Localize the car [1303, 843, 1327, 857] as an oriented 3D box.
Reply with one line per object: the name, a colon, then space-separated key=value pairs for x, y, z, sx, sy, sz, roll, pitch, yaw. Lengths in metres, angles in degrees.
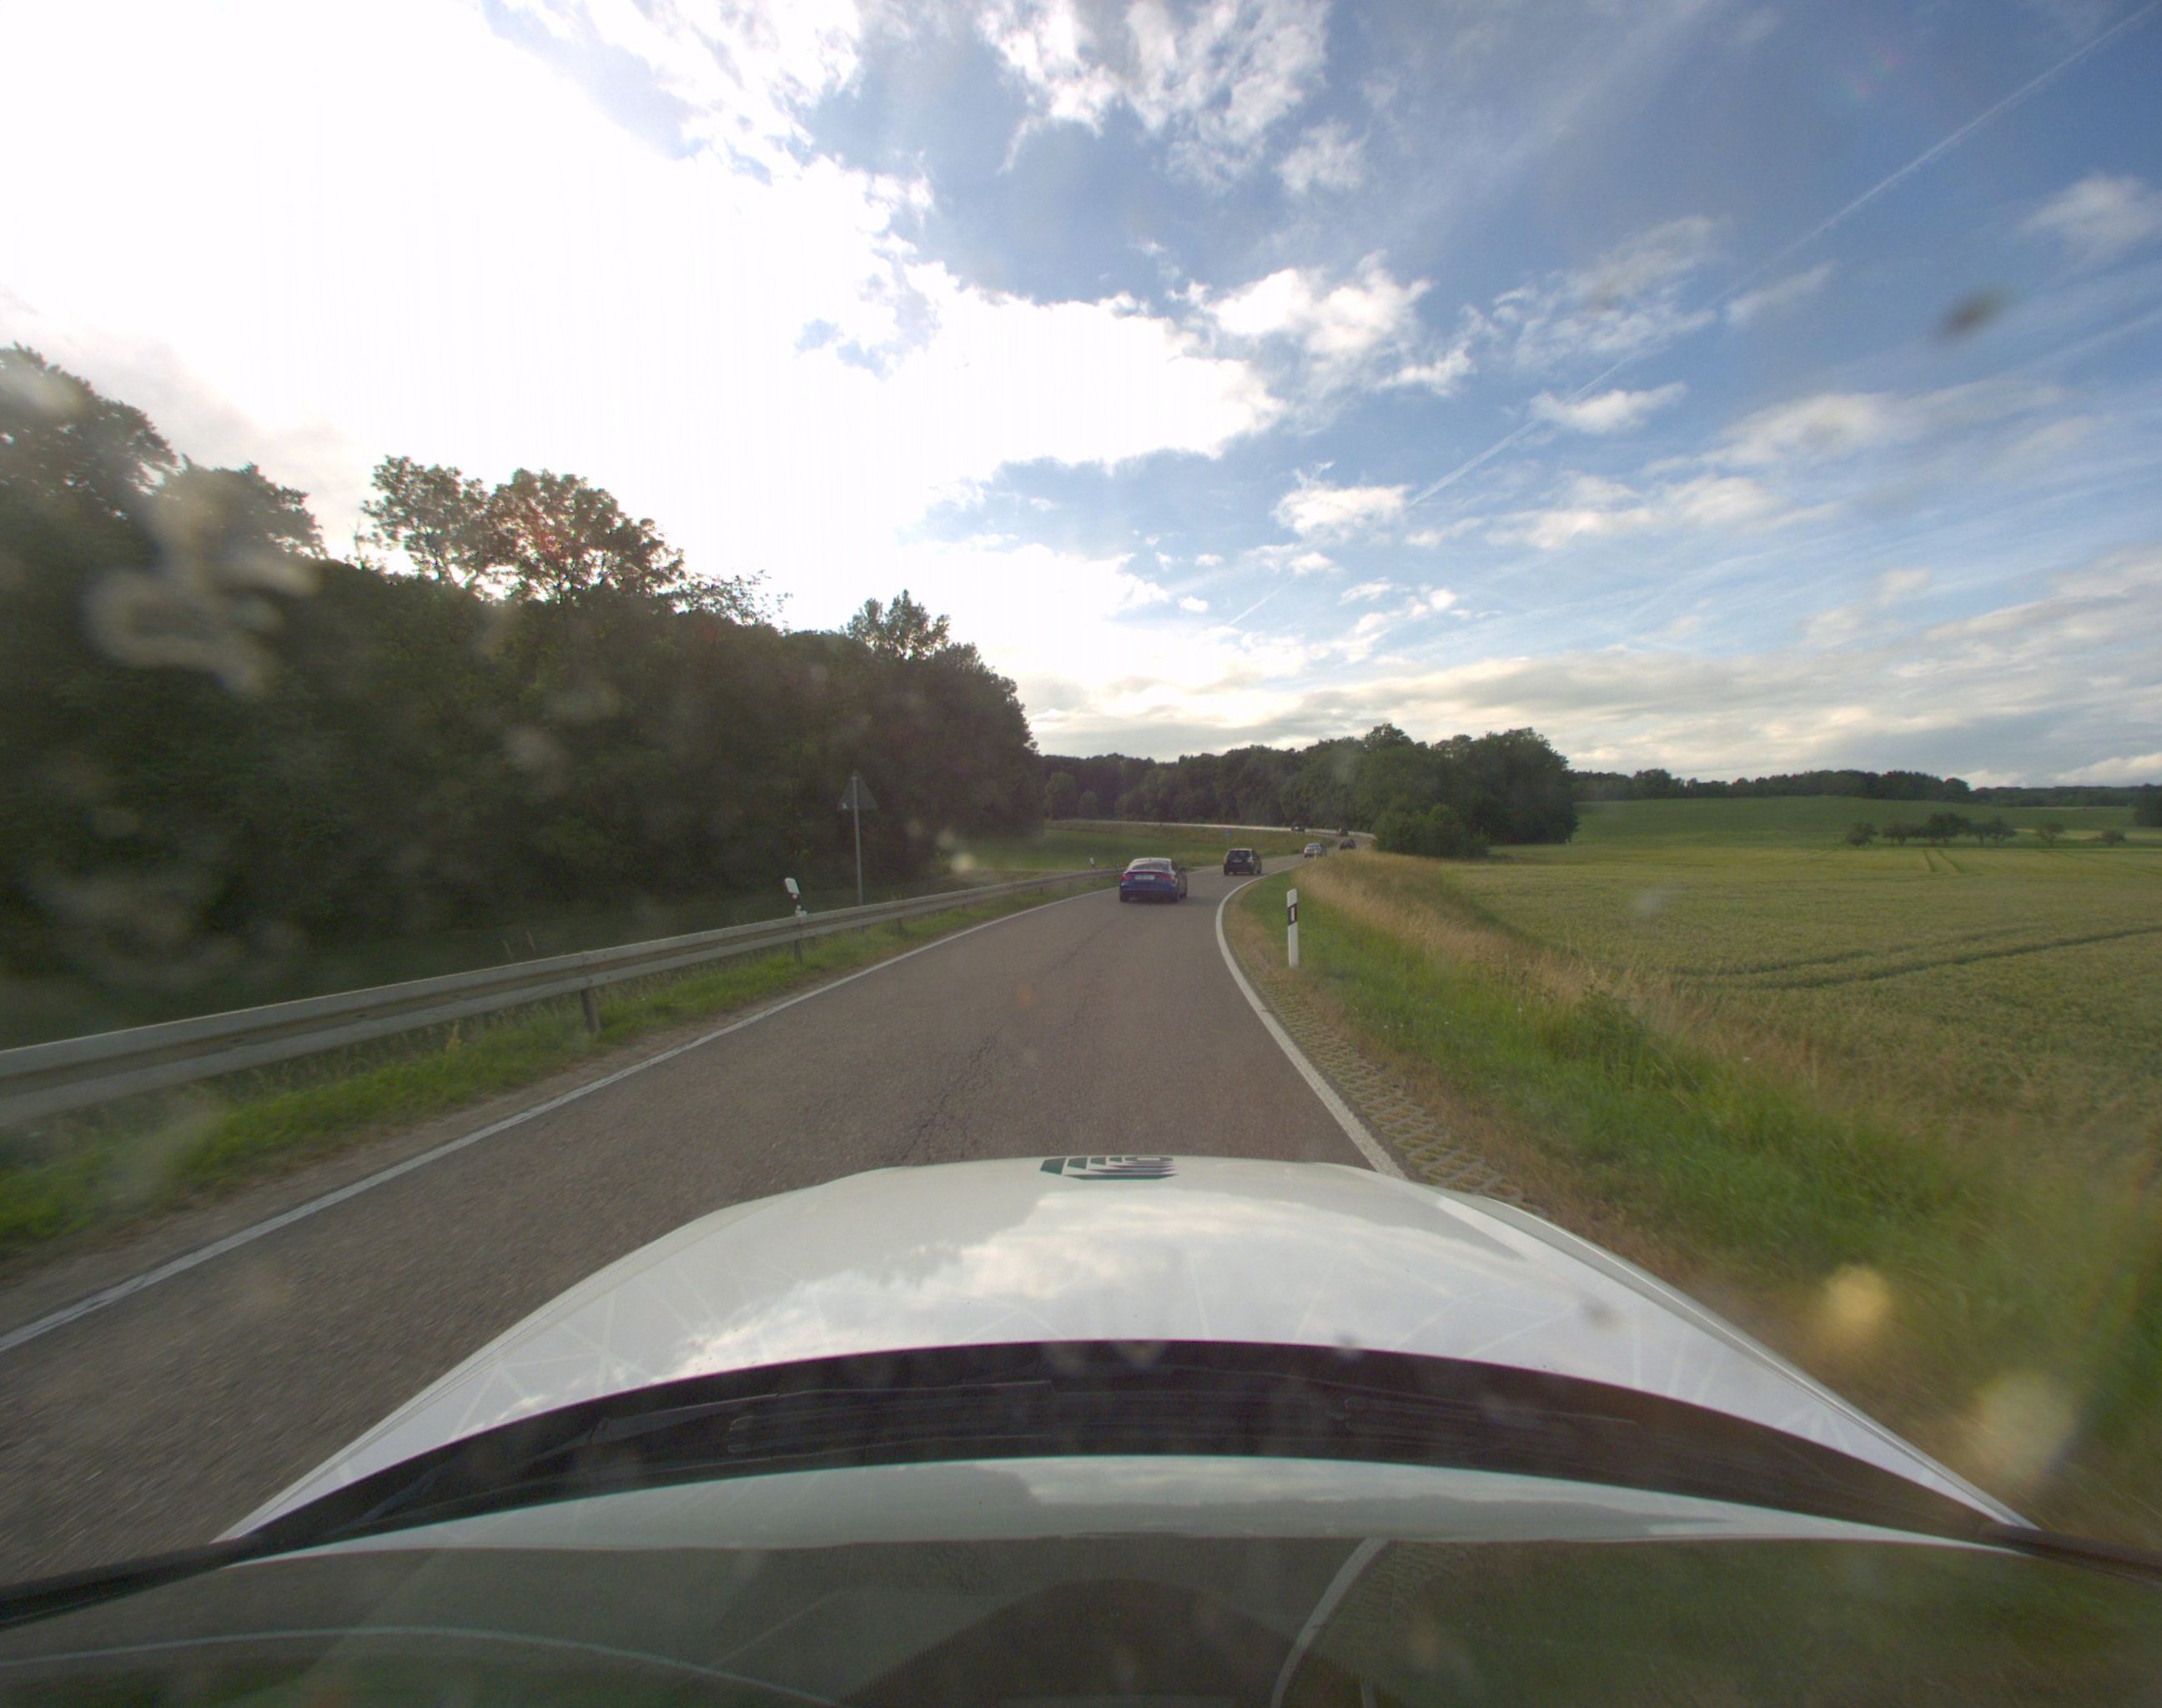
car: x=24.485 y=-0.419 z=85.276 sx=1.666 sy=1.376 sz=4.024 roll=-2 pitch=0 yaw=26

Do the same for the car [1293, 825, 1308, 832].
car: x=55.402 y=-6.480 z=205.317 sx=1.997 sy=1.771 sz=3.980 roll=-1 pitch=2 yaw=-15

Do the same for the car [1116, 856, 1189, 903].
car: x=2.395 y=0.762 z=26.434 sx=1.806 sy=1.339 sz=4.365 roll=0 pitch=0 yaw=12

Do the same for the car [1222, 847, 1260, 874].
car: x=9.819 y=0.365 z=49.723 sx=1.847 sy=1.568 sz=4.018 roll=0 pitch=0 yaw=17

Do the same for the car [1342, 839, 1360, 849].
car: x=36.053 y=-1.392 z=108.698 sx=1.457 sy=1.227 sz=3.321 roll=-4 pitch=-1 yaw=33

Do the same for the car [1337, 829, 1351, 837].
car: x=55.893 y=-4.488 z=173.235 sx=1.983 sy=1.678 sz=4.187 roll=-1 pitch=2 yaw=6
